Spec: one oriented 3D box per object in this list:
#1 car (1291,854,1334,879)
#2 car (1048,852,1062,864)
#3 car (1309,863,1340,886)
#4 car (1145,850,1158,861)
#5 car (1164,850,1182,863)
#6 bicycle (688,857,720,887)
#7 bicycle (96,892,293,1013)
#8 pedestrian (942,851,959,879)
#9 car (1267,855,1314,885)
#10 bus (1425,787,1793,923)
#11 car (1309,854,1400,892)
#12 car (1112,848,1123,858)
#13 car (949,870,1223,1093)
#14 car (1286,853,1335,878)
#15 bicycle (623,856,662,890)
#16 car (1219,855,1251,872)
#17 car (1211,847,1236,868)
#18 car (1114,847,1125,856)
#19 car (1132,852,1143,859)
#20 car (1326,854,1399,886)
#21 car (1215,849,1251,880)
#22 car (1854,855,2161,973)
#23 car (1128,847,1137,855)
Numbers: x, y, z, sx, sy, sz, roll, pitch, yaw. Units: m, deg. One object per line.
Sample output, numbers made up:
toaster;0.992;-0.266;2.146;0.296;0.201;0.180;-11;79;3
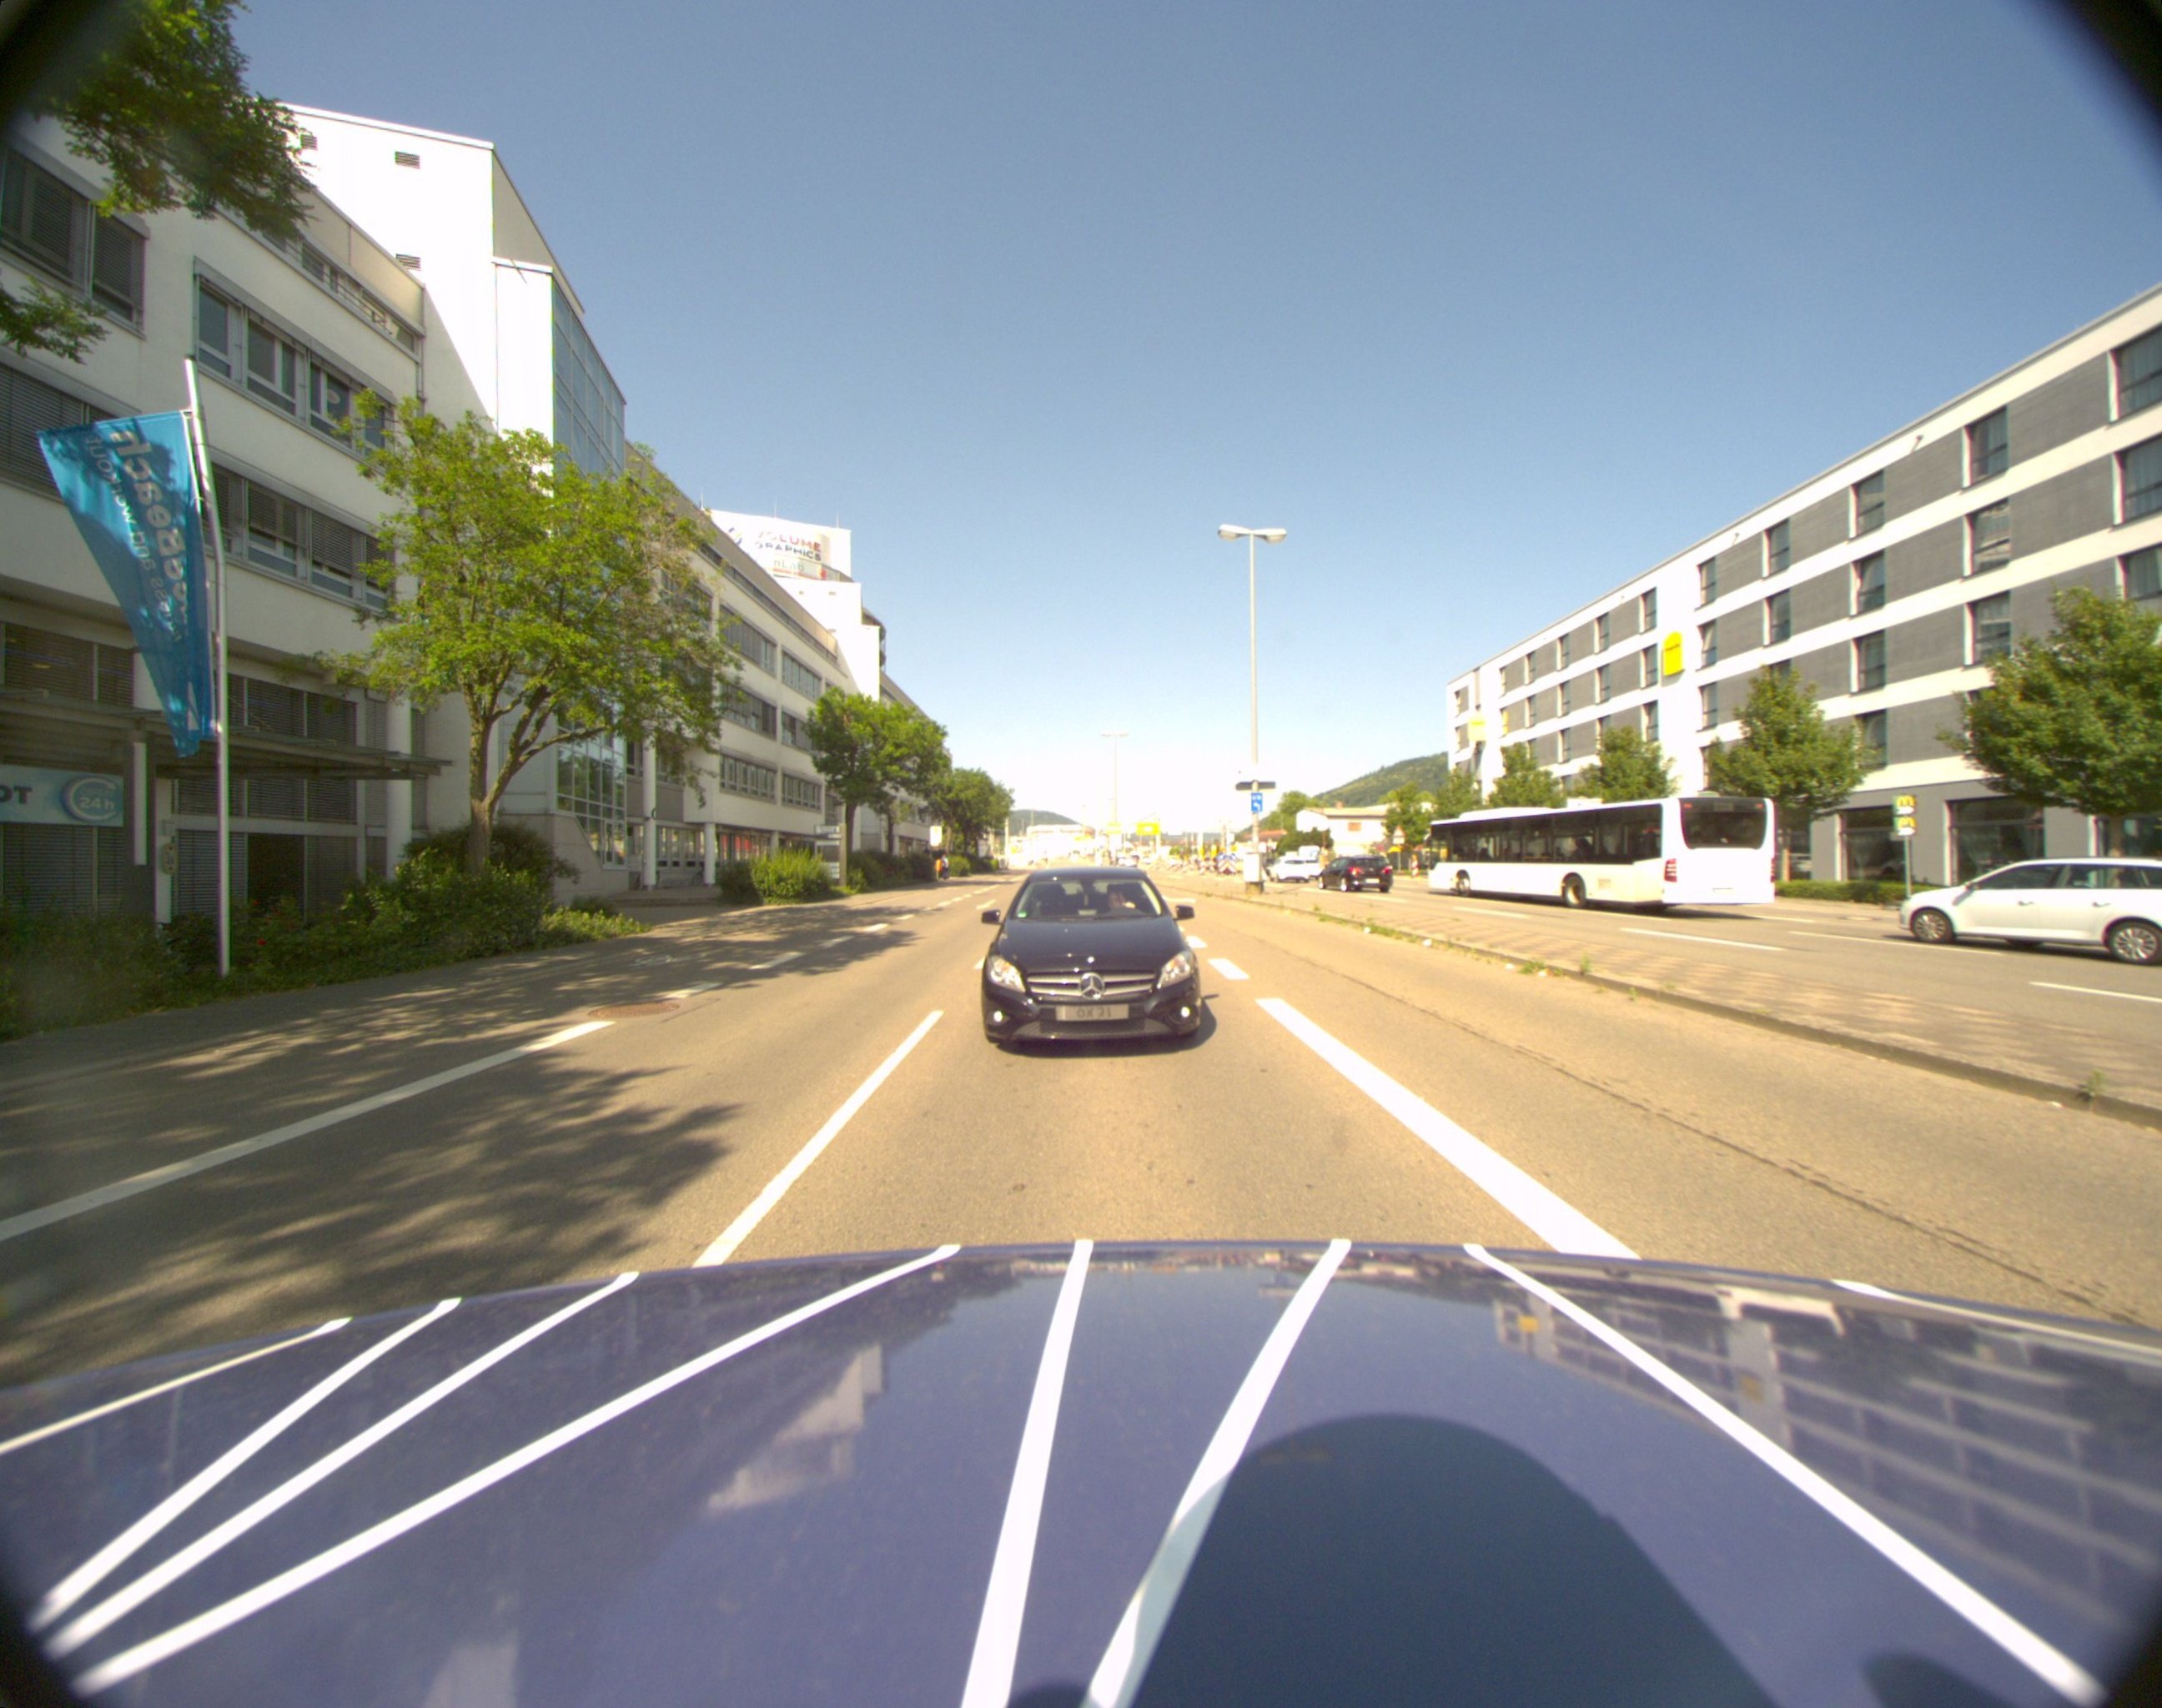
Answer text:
car;16.103;0.847;53.031;1.719;1.609;3.591;-1;0;-2
car;-4.517;0.682;132.072;1.998;2.002;4.000;-2;1;2
car;13.773;1.153;42.999;1.058;1.200;2.220;-2;1;2
car;12.848;0.254;139.423;1.999;2.002;3.999;0;0;-1
car;12.896;0.381;106.836;1.998;1.702;4.891;-1;0;1
bicycle;-17.719;0.816;35.735;0.506;1.346;1.884;-1;0;1
bicycle;-11.263;1.187;9.758;0.506;1.321;1.883;0;0;-8
pedestrian;-9.258;0.772;53.907;0.942;1.875;1.289;2;1;0
car;11.766;0.871;42.838;1.763;1.443;4.000;-2;1;4
bus;14.775;-0.008;23.338;2.745;3.061;11.973;1;0;-1
car;11.225;0.725;31.560;1.998;1.424;4.890;-1;0;0
car;7.787;-0.309;162.407;1.998;2.002;3.999;-2;1;1
car;0.061;0.948;7.681;1.905;1.431;4.693;-1;0;1
car;14.707;0.737;48.847;1.858;1.530;3.977;-1;0;-2
bicycle;-18.060;0.768;31.337;0.506;1.346;1.884;-1;0;1
car;14.373;0.859;71.252;1.998;1.514;4.891;-1;0;1
car;14.799;0.358;79.250;1.998;2.002;4.000;-2;1;3
car;9.501;-0.605;186.413;2.000;2.002;3.997;-1;0;-6
car;11.458;0.338;154.865;1.815;1.328;3.937;-1;0;-3
car;14.480;0.765;39.371;1.998;1.514;4.891;-1;0;1
car;10.706;0.685;53.791;1.679;2.002;4.164;-2;1;1
car;14.954;0.820;11.390;1.999;1.477;4.410;2;1;-5
car;11.909;-0.636;175.539;1.998;1.725;4.000;-1;0;2
